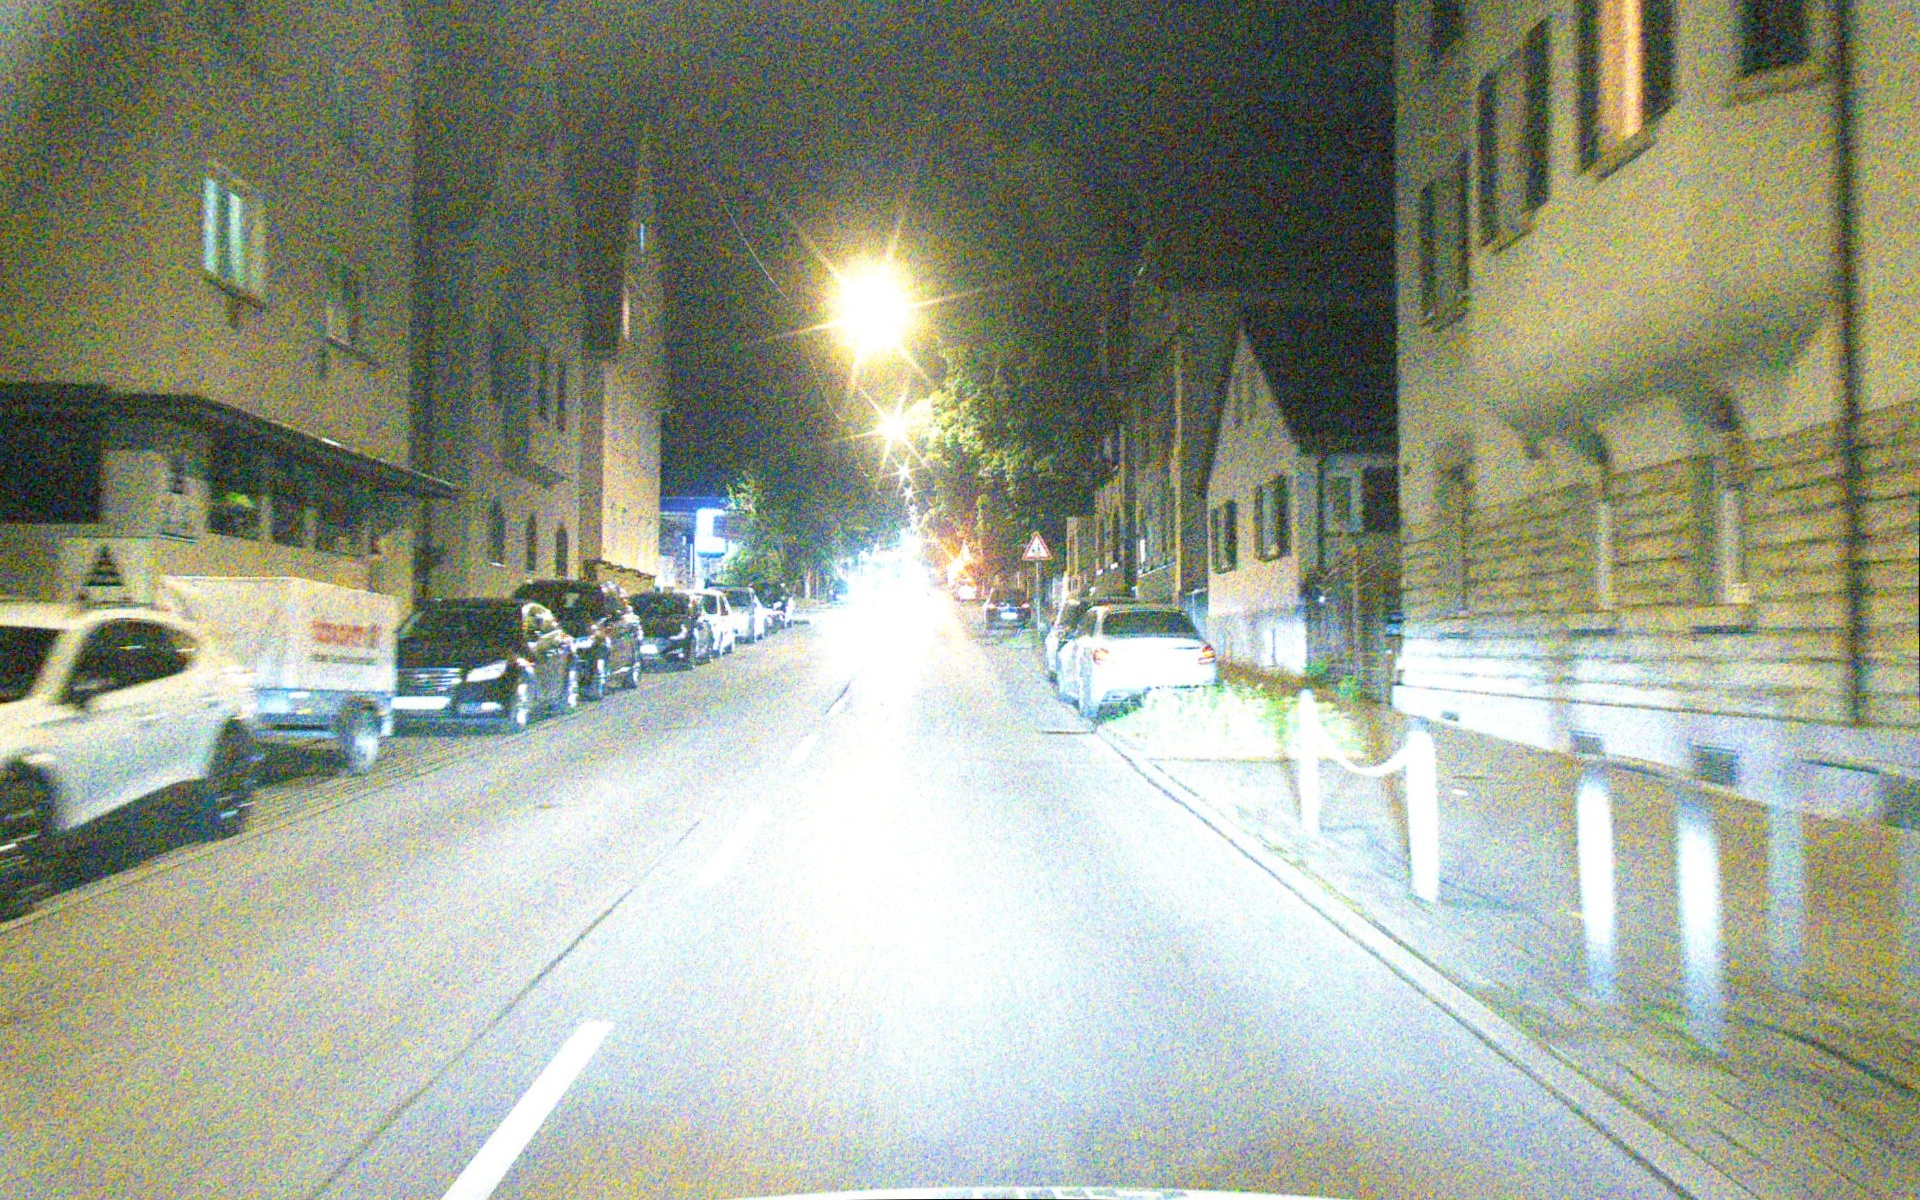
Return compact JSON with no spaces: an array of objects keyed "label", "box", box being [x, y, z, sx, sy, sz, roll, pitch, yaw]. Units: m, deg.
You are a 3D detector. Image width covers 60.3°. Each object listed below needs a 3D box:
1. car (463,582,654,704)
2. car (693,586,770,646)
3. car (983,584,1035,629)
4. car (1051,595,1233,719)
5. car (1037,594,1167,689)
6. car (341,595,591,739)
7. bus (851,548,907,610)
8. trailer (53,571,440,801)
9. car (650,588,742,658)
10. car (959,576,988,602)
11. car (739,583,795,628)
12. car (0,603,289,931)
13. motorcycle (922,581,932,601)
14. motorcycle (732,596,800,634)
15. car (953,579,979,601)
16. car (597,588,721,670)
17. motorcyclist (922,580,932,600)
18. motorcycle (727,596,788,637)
[{"label":"car","box":[-5.926,0.570,24.964,1.798,1.647,4.544,1,1,-1]},{"label":"car","box":[-6.281,0.416,45.836,1.670,1.517,4.226,-1,1,-2]},{"label":"car","box":[1.781,0.216,61.193,1.727,1.501,4.080,-1,1,-1]},{"label":"car","box":[2.394,0.713,22.853,1.808,1.442,4.643,-3,0,-2]},{"label":"car","box":[2.323,0.639,28.009,1.735,1.473,4.018,0,0,-2]},{"label":"car","box":[-5.738,0.701,19.799,1.798,1.472,4.543,0,1,-2]},{"label":"bus","box":[-4.470,-1.213,93.039,2.780,3.233,10.496,1,1,-1]},{"label":"trailer","box":[-5.852,0.643,14.019,1.603,1.668,3.440,1,0,3]},{"label":"car","box":[-6.027,0.509,38.103,1.589,1.518,3.779,1,0,-2]},{"label":"car","box":[0.905,-0.771,110.108,1.775,1.621,4.273,-1,1,-1]},{"label":"car","box":[-6.670,0.197,57.308,1.605,1.524,2.765,0,0,0]},{"label":"car","box":[-5.484,0.795,9.337,1.778,1.510,4.345,0,0,-3]},{"label":"motorcycle","box":[-2.977,-0.780,149.362,0.912,1.782,2.624,1,0,-1]},{"label":"motorcycle","box":[-6.132,0.468,52.102,2.162,1.150,0.714,0,1,32]},{"label":"car","box":[0.415,-0.749,123.428,1.831,1.553,4.149,-1,1,-1]},{"label":"car","box":[-5.974,0.557,33.282,1.826,1.518,4.278,1,0,-2]},{"label":"motorcyclist","box":[-2.977,-0.940,149.408,0.831,1.782,0.805,1,0,-1]},{"label":"motorcycle","box":[-6.142,0.488,50.083,0.710,1.167,2.174,-1,1,-43]}]
